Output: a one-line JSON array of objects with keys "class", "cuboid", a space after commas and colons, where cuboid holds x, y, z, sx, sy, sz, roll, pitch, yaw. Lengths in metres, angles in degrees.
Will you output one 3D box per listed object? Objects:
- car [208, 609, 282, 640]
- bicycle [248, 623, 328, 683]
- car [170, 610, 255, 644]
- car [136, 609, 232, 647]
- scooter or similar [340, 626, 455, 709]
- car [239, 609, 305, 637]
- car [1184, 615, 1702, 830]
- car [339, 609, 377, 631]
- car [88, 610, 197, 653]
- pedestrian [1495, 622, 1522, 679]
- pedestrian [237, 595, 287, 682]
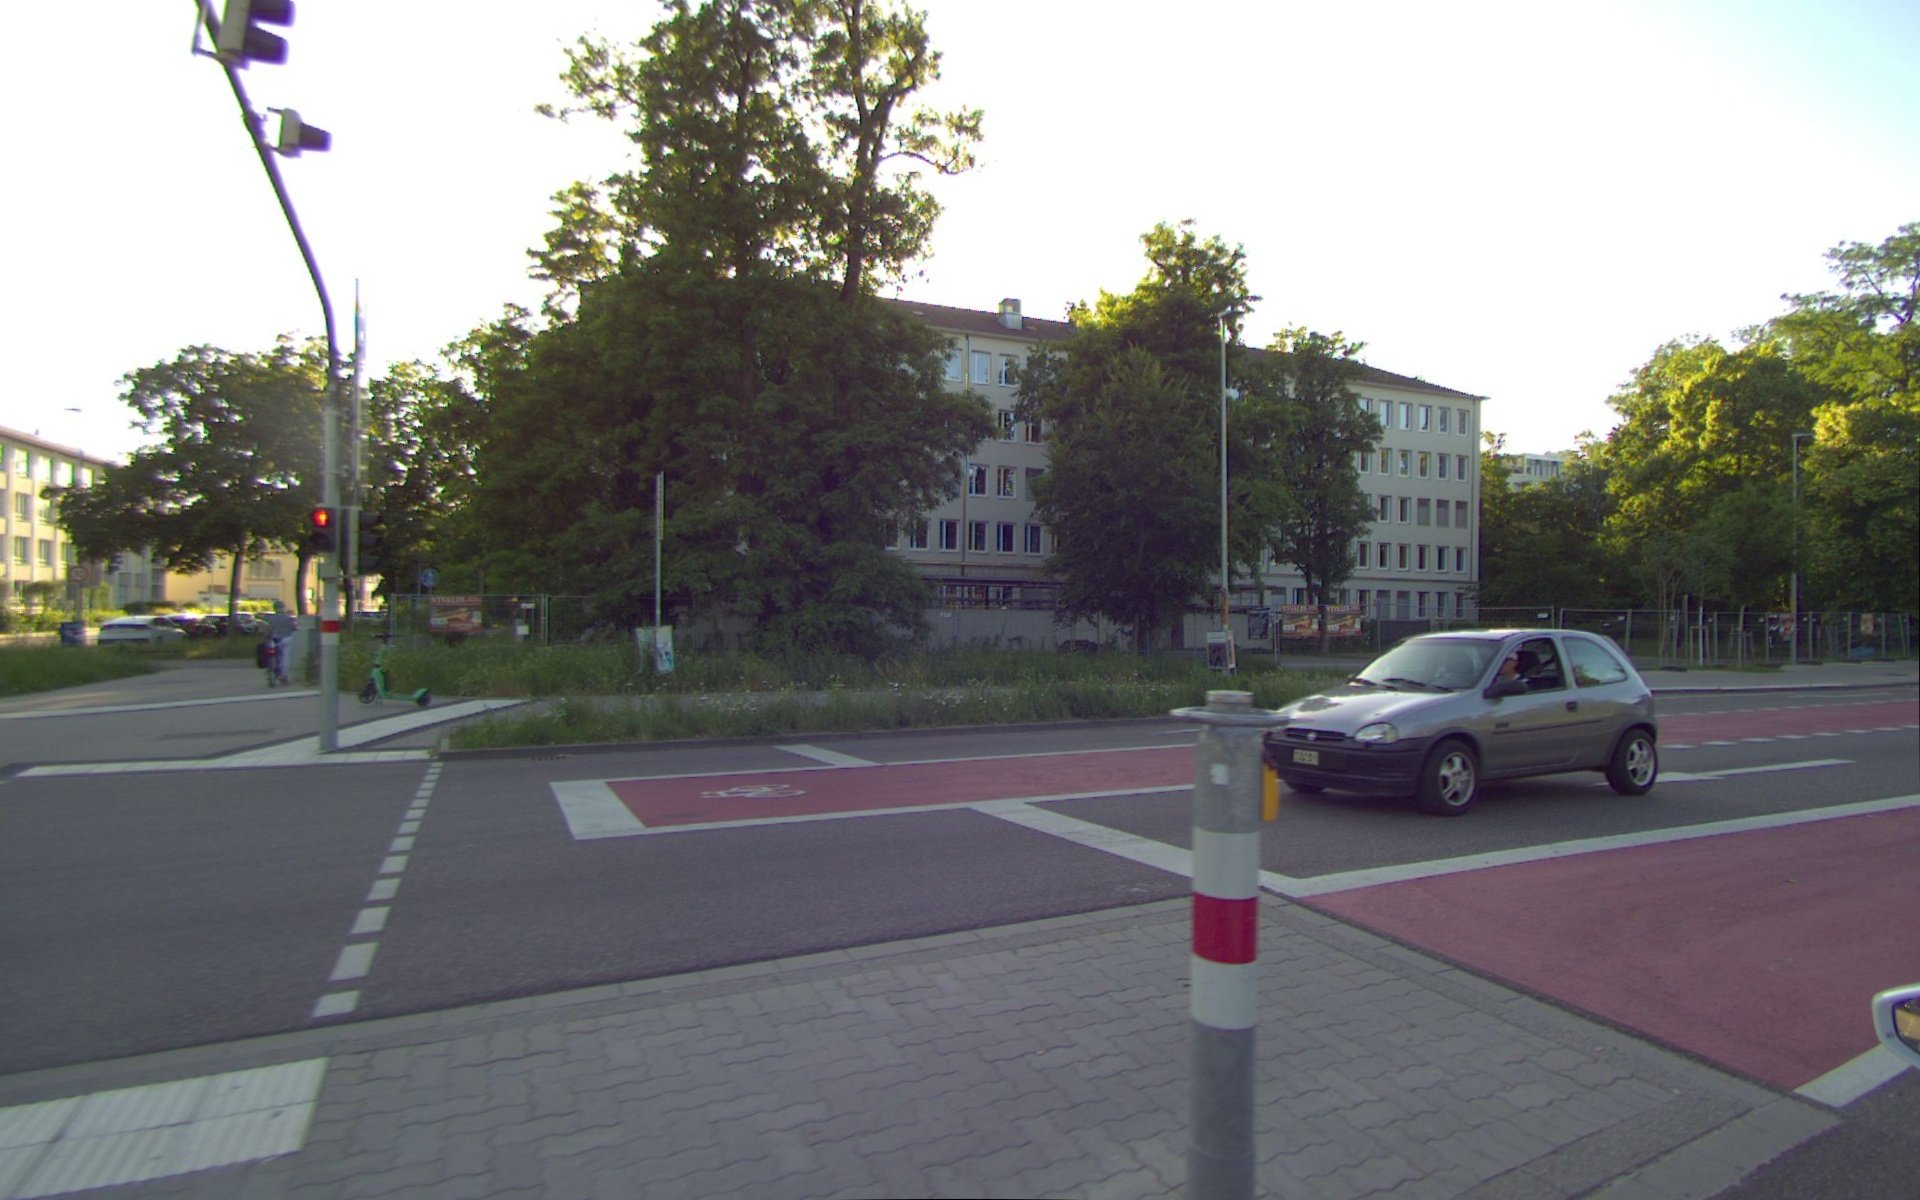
[{"class": "car", "cuboid": [-38.064, 1.274, 53.571, 2.204, 1.560, 4.238, 1, -1, -21]}, {"class": "bicycle", "cuboid": [-13.902, 1.065, 20.867, 0.967, 1.151, 2.563, 1, -1, -25]}, {"class": "car", "cuboid": [-36.281, 1.270, 48.884, 2.204, 1.560, 4.238, 1, -1, -21]}, {"class": "car", "cuboid": [-34.088, 1.217, 44.281, 2.204, 1.560, 4.238, 1, -1, -21]}, {"class": "scooter or similar", "cuboid": [-9.221, 1.094, 16.495, 1.466, 1.311, 0.695, 1, -1, 0]}, {"class": "car", "cuboid": [-39.859, 1.297, 58.273, 2.204, 1.560, 4.238, 1, -1, -21]}, {"class": "car", "cuboid": [4.216, 0.901, 8.593, 4.498, 1.440, 1.704, 1, -3, -29]}, {"class": "car", "cuboid": [-46.826, 1.531, 78.218, 1.784, 1.607, 3.982, 1, -1, -20]}, {"class": "car", "cuboid": [-31.788, 1.196, 39.214, 2.038, 1.560, 4.238, 1, -1, -21]}, {"class": "pedestrian", "cuboid": [15.228, 1.405, 27.907, 0.565, 1.554, 0.448, 1, -1, -34]}, {"class": "pedestrian", "cuboid": [-14.211, 0.770, 20.477, 0.634, 1.718, 0.974, 1, -1, -25]}]
